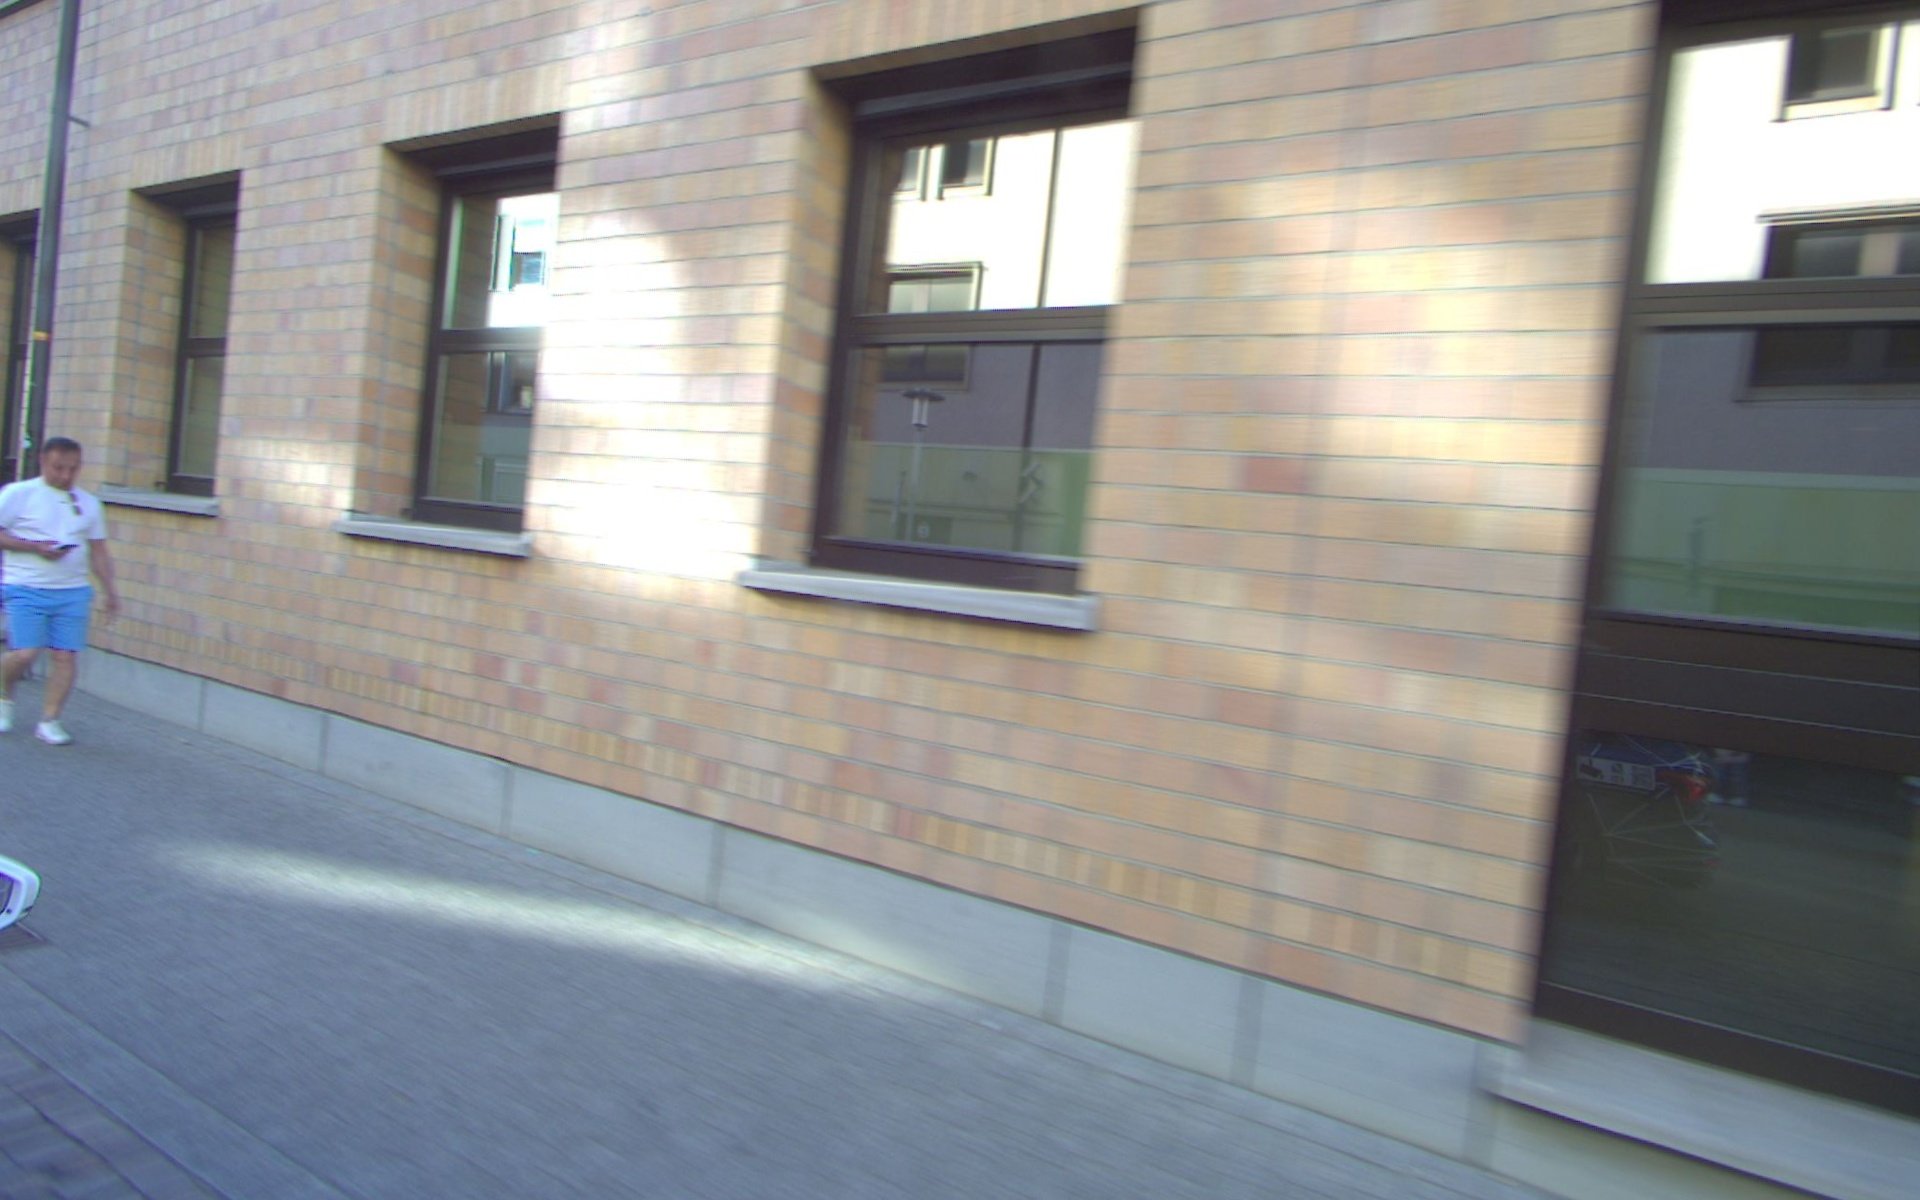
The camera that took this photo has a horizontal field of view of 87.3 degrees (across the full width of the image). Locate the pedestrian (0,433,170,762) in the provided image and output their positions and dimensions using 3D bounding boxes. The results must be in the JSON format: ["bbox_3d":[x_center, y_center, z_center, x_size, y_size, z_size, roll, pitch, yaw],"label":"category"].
[{"bbox_3d":[-5.235,-0.041,5.798,0.807,1.740,0.761,7,4,28],"label":"pedestrian"}]
